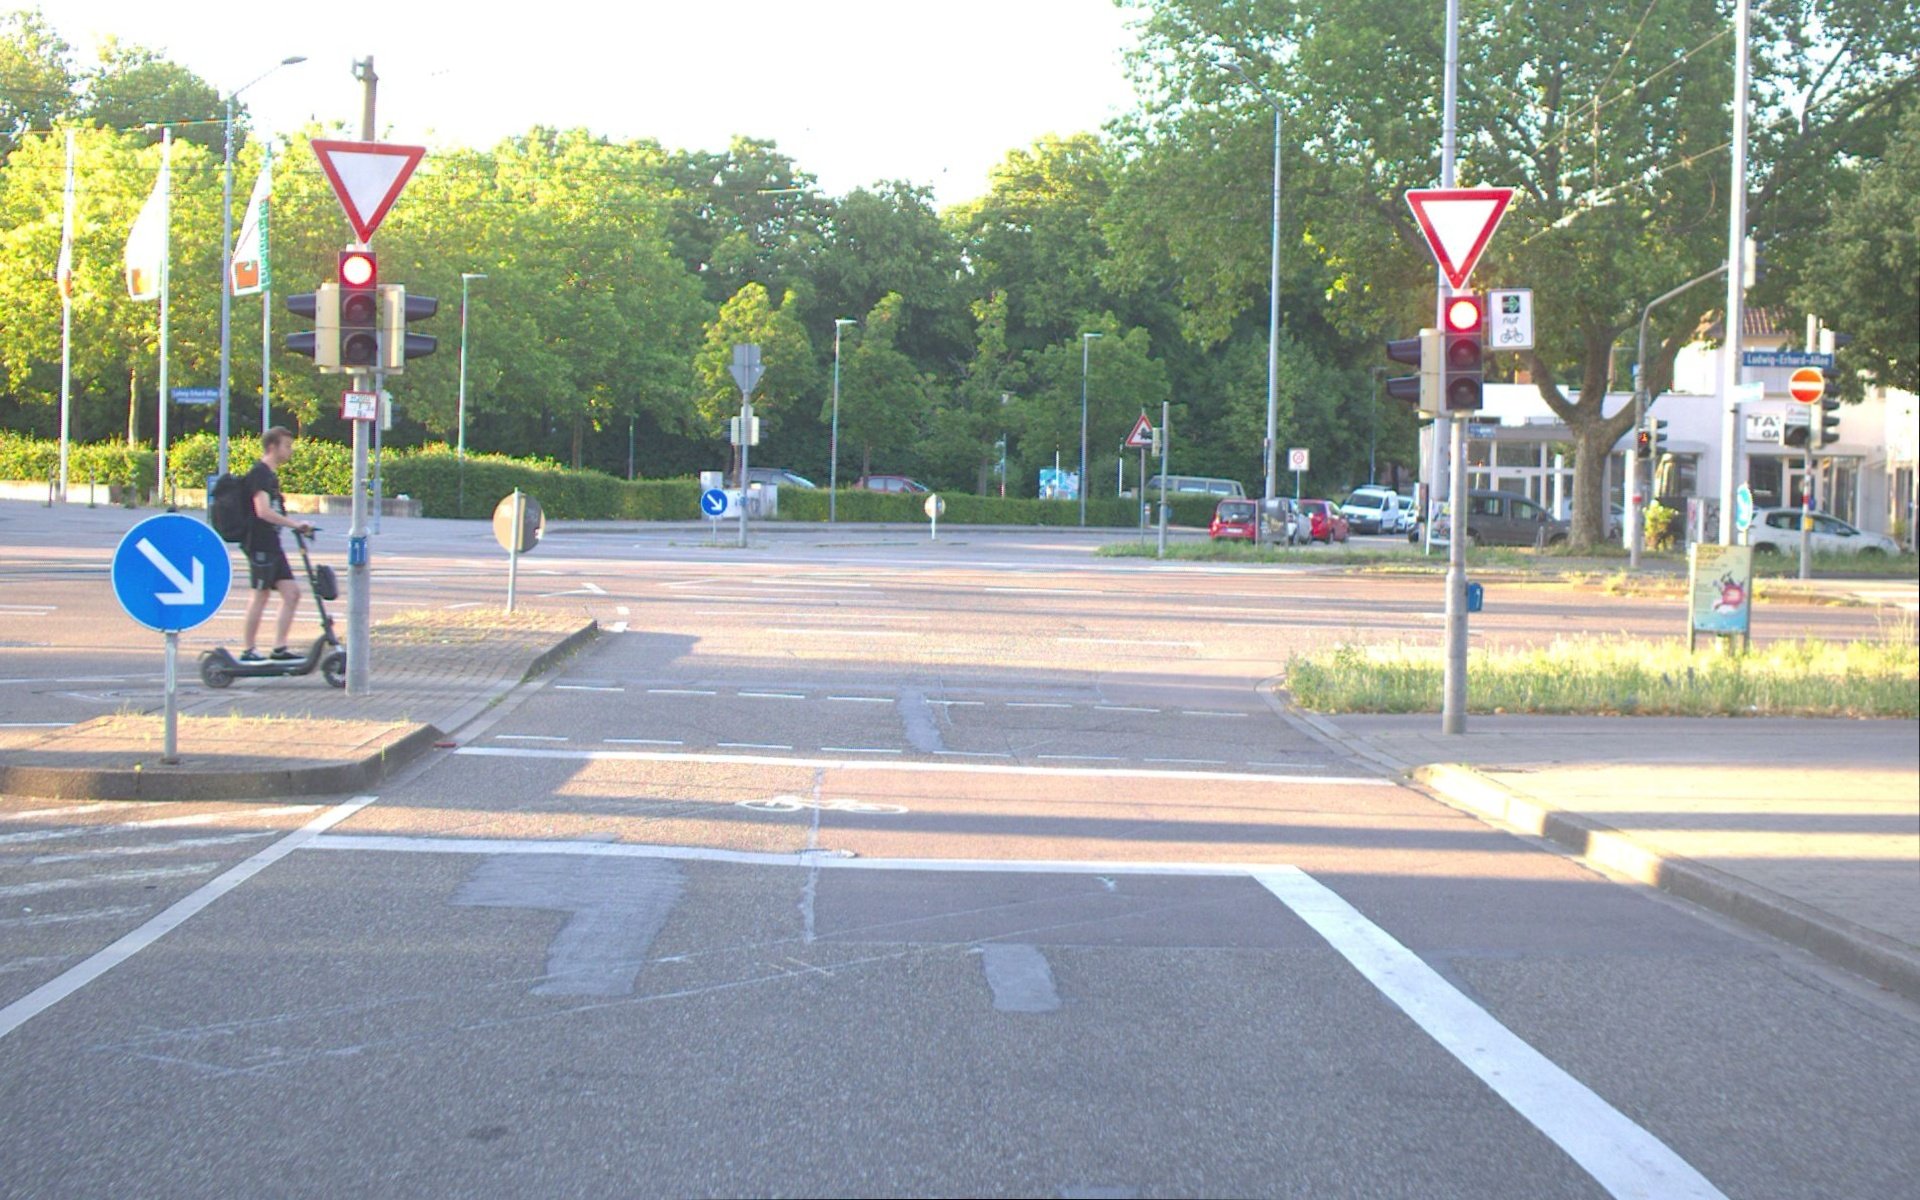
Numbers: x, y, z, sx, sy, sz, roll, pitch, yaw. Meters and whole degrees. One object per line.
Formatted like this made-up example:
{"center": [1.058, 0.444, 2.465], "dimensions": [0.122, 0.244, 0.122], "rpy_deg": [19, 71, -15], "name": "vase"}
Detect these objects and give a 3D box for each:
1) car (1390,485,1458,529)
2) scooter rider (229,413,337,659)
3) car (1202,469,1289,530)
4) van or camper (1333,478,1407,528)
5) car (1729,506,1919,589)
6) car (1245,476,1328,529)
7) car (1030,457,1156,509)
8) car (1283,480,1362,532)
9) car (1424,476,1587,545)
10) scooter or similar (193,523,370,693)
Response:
{"center": [16.884, -3.394, 125.034], "dimensions": [1.499, 1.472, 3.080], "rpy_deg": [3, 4, 26], "name": "car"}
{"center": [-4.961, -0.474, 25.195], "dimensions": [0.705, 1.776, 0.443], "rpy_deg": [1, 3, -4], "name": "scooter rider"}
{"center": [8.807, -3.109, 105.926], "dimensions": [1.499, 1.754, 3.399], "rpy_deg": [3, 4, 26], "name": "car"}
{"center": [16.823, -3.994, 141.032], "dimensions": [1.627, 1.975, 3.801], "rpy_deg": [3, 4, 29], "name": "van or camper"}
{"center": [20.978, -1.263, 82.691], "dimensions": [4.467, 1.810, 1.945], "rpy_deg": [1, 3, 1], "name": "car"}
{"center": [10.420, -3.120, 109.674], "dimensions": [1.499, 1.600, 3.399], "rpy_deg": [3, 4, 26], "name": "car"}
{"center": [5.152, -4.525, 132.860], "dimensions": [4.685, 1.862, 2.013], "rpy_deg": [2, 3, 6], "name": "car"}
{"center": [11.971, -3.128, 113.407], "dimensions": [1.499, 1.600, 3.399], "rpy_deg": [3, 4, 26], "name": "car"}
{"center": [15.720, -2.602, 99.306], "dimensions": [4.468, 1.810, 1.945], "rpy_deg": [2, 3, 5], "name": "car"}
{"center": [-4.971, 0.053, 25.227], "dimensions": [1.213, 1.196, 0.503], "rpy_deg": [1, 3, -5], "name": "scooter or similar"}
